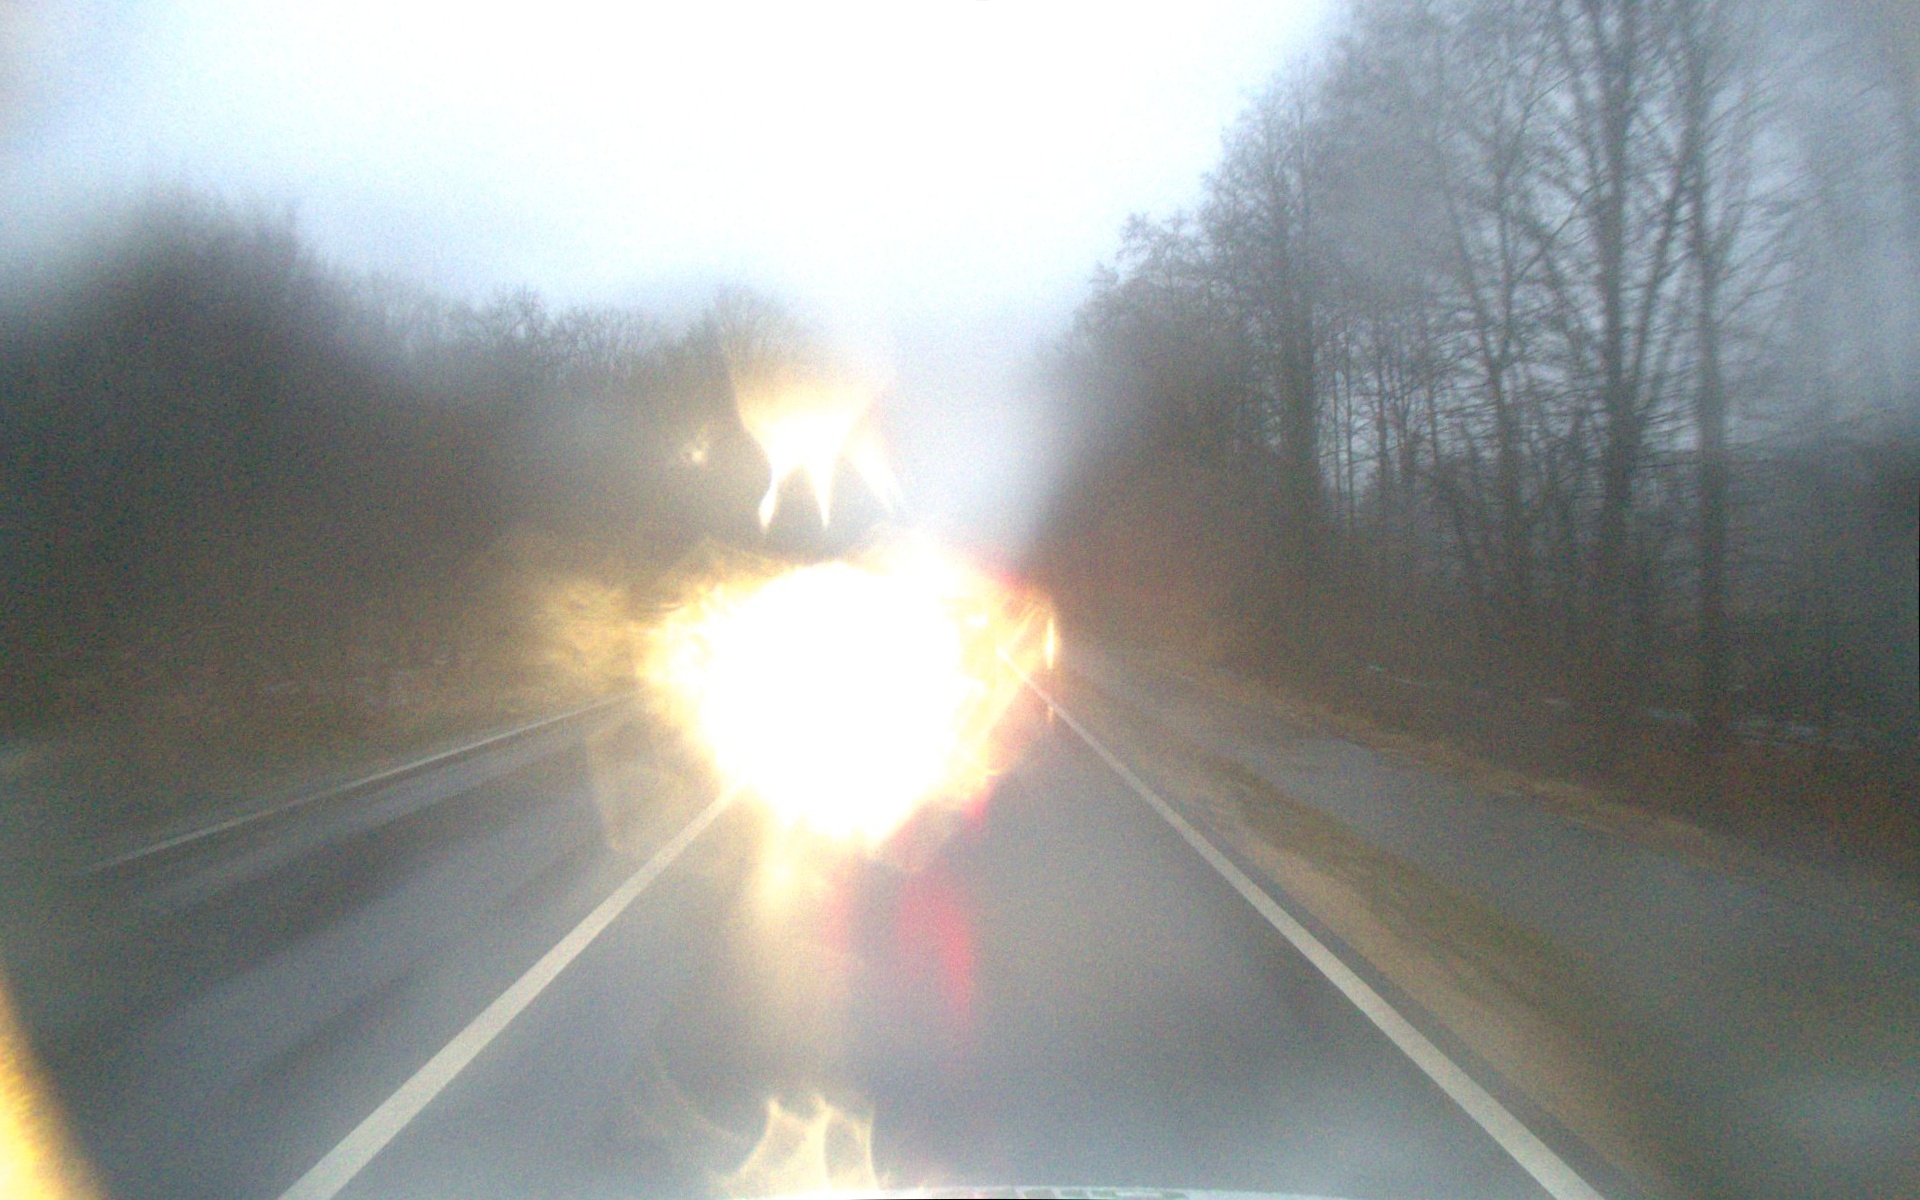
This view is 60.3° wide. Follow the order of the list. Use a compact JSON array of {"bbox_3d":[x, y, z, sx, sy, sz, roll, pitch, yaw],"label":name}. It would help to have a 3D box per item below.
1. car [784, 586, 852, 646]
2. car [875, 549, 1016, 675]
[{"bbox_3d":[-3.982,0.418,46.746,1.713,1.579,3.992,0,1,-2],"label":"car"},{"bbox_3d":[-0.277,0.161,27.973,2.153,1.910,4.826,1,1,-1],"label":"car"}]
